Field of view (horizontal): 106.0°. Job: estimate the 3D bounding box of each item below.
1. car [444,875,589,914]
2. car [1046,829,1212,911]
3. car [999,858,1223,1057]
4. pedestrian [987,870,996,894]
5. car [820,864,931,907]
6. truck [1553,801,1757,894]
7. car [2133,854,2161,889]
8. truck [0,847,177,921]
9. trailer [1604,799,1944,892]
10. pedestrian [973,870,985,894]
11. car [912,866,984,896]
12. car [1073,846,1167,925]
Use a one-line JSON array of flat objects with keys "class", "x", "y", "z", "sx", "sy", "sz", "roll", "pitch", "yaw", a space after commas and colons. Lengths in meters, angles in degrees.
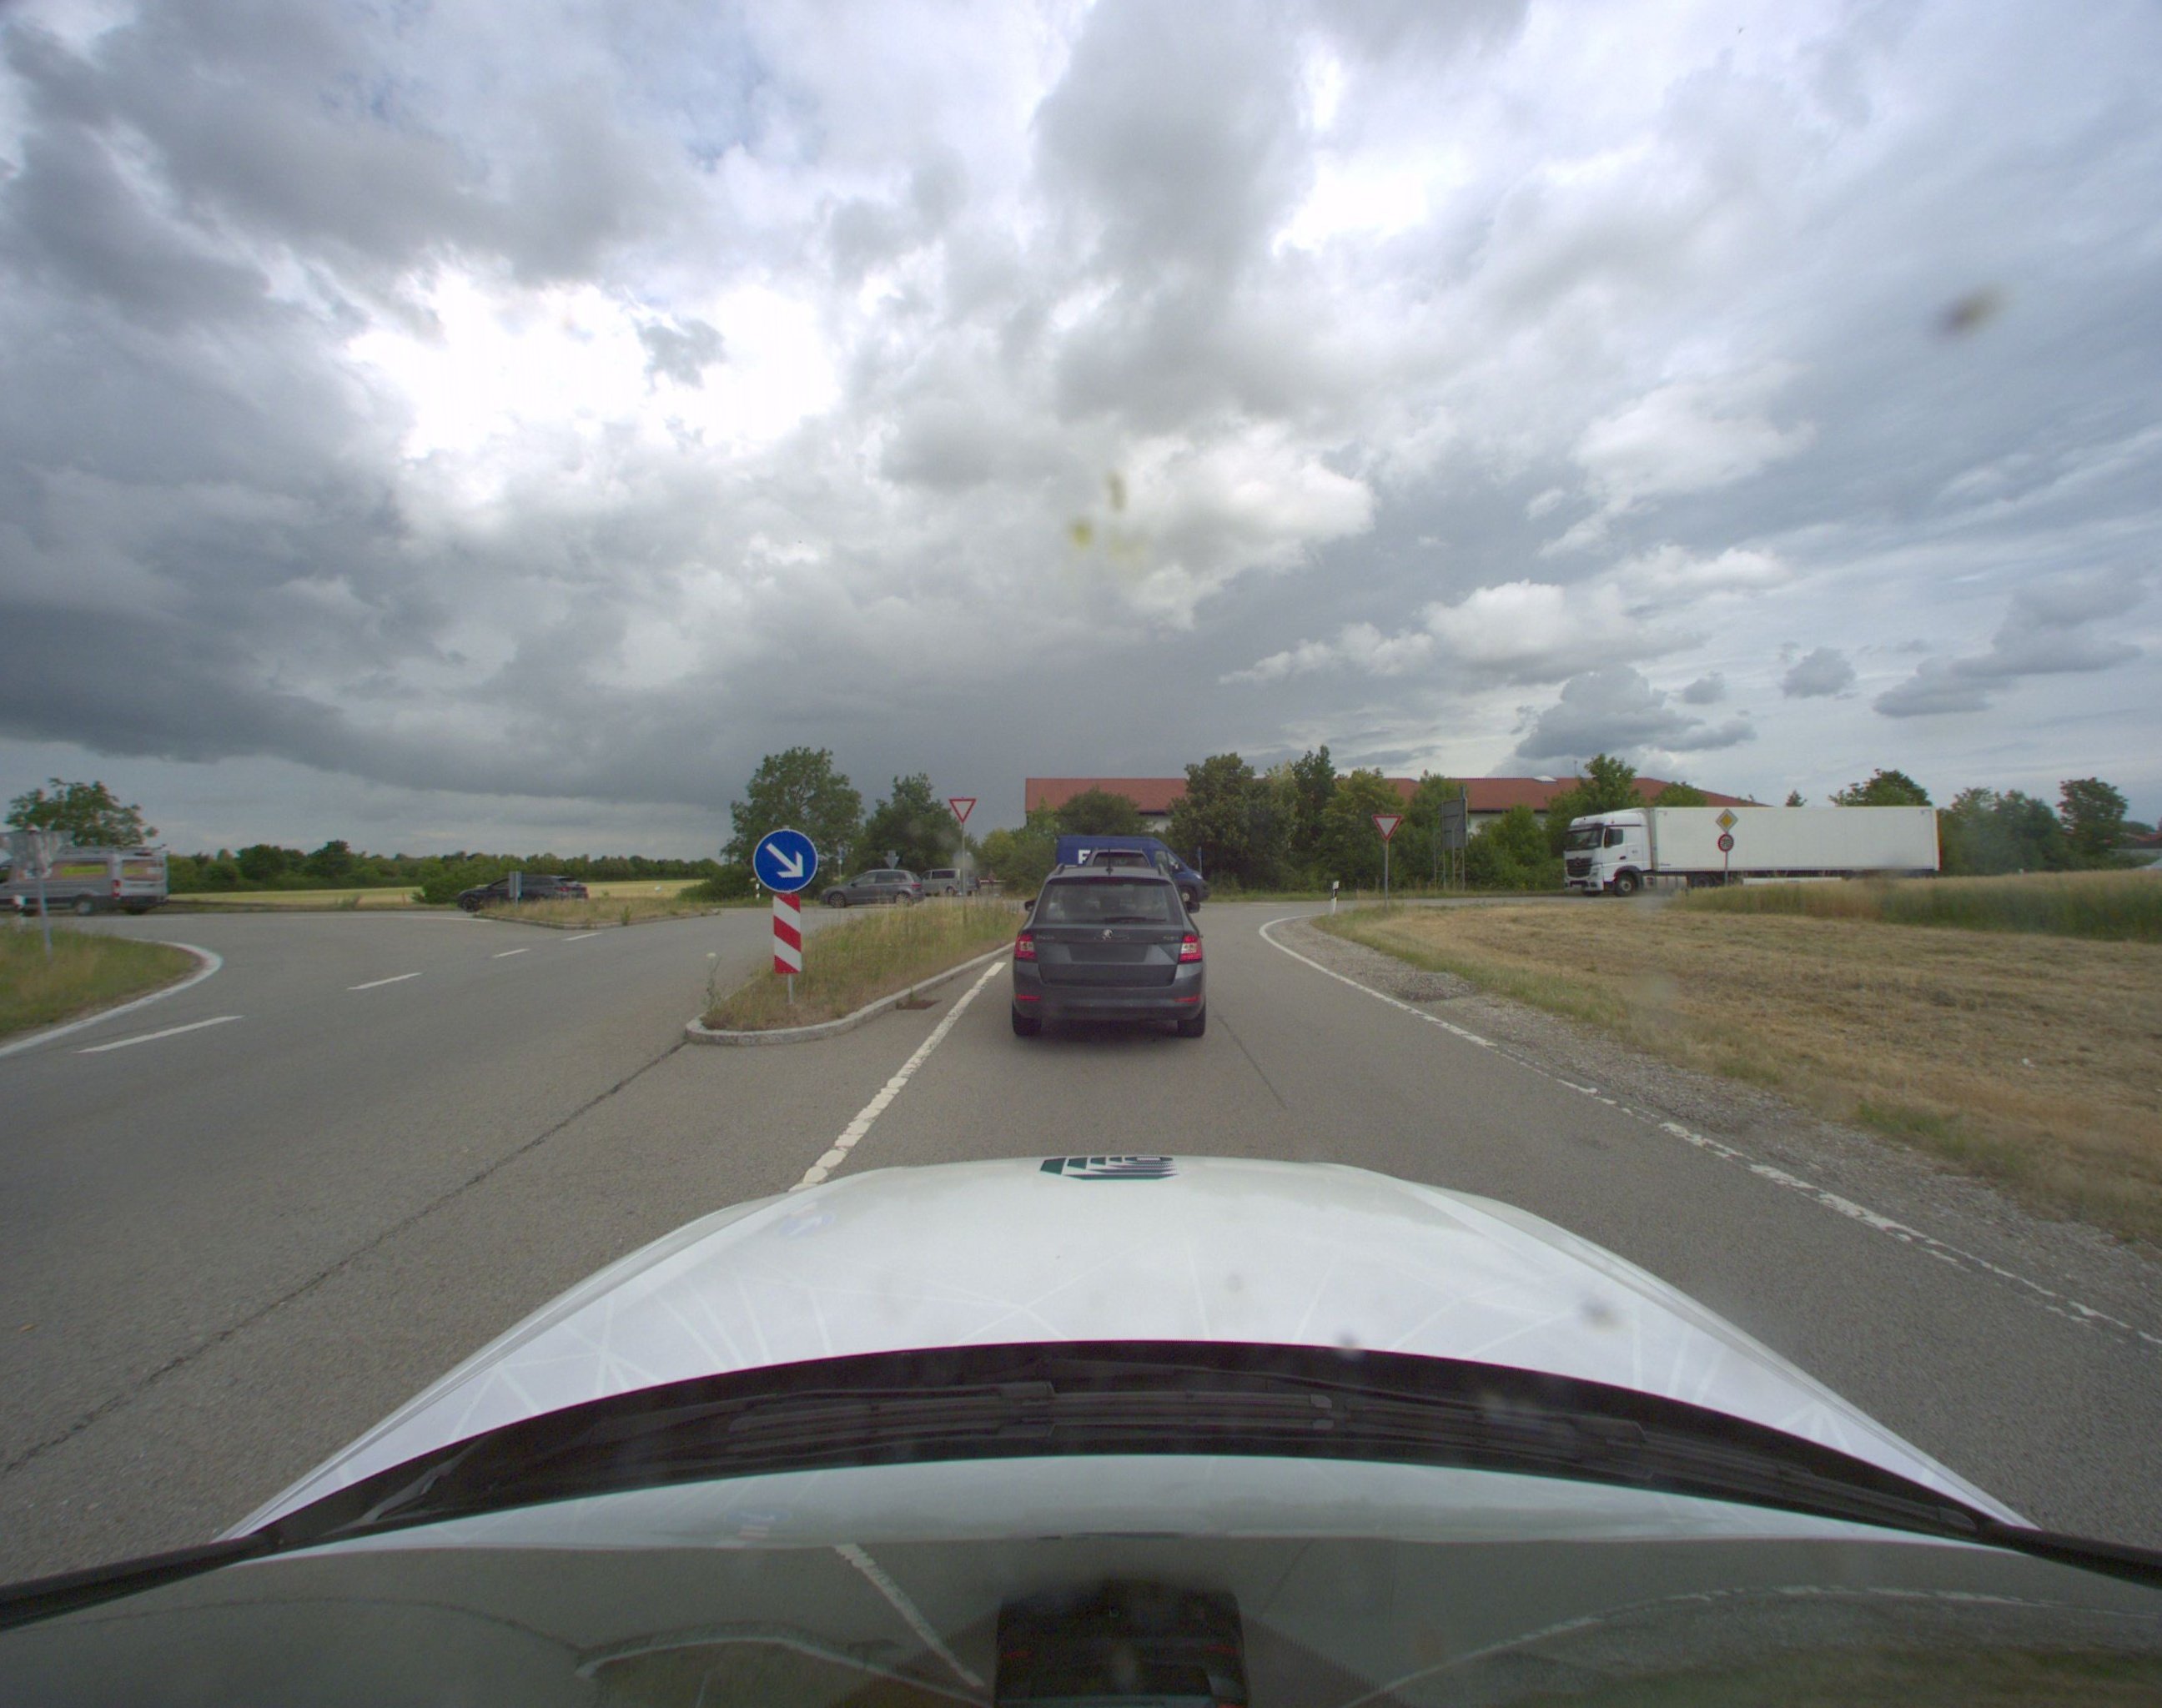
[{"class": "car", "x": -21.950, "y": 1.560, "z": 31.795, "sx": 4.333, "sy": 1.345, "sz": 1.679, "roll": -1, "pitch": 0, "yaw": -4}, {"class": "car", "x": 1.611, "y": 0.529, "z": 28.675, "sx": 5.543, "sy": 2.639, "sz": 2.146, "roll": -1, "pitch": 0, "yaw": -5}, {"class": "car", "x": 0.246, "y": 0.788, "z": 7.965, "sx": 1.670, "sy": 1.462, "sz": 3.707, "roll": -1, "pitch": 0, "yaw": 0}, {"class": "pedestrian", "x": -6.619, "y": 2.072, "z": 60.347, "sx": 0.582, "sy": 1.682, "sz": 0.565, "roll": -1, "pitch": 0, "yaw": -5}, {"class": "car", "x": -8.640, "y": 1.309, "z": 34.536, "sx": 4.202, "sy": 1.601, "sz": 1.997, "roll": -2, "pitch": 0, "yaw": -4}, {"class": "truck", "x": 26.214, "y": -0.242, "z": 37.437, "sx": 7.270, "sy": 4.015, "sz": 3.123, "roll": -1, "pitch": -2, "yaw": -5}, {"class": "car", "x": 53.719, "y": 0.783, "z": 39.031, "sx": 4.459, "sy": 1.682, "sz": 1.995, "roll": -1, "pitch": -2, "yaw": -7}, {"class": "truck", "x": -39.856, "y": 1.161, "z": 31.886, "sx": 6.018, "sy": 2.703, "sz": 2.061, "roll": -1, "pitch": 0, "yaw": -7}, {"class": "trailer", "x": 32.050, "y": -0.360, "z": 37.950, "sx": 13.816, "sy": 4.015, "sz": 3.123, "roll": -1, "pitch": -2, "yaw": -5}, {"class": "pedestrian", "x": -7.276, "y": 1.997, "z": 57.906, "sx": 0.523, "sy": 1.726, "sz": 0.646, "roll": -2, "pitch": 0, "yaw": 35}, {"class": "car", "x": -9.556, "y": 1.905, "z": 58.351, "sx": 4.851, "sy": 2.013, "sz": 2.357, "roll": -1, "pitch": 0, "yaw": 35}, {"class": "car", "x": 0.862, "y": 0.769, "z": 20.710, "sx": 1.988, "sy": 1.775, "sz": 4.639, "roll": 0, "pitch": -2, "yaw": -2}]
